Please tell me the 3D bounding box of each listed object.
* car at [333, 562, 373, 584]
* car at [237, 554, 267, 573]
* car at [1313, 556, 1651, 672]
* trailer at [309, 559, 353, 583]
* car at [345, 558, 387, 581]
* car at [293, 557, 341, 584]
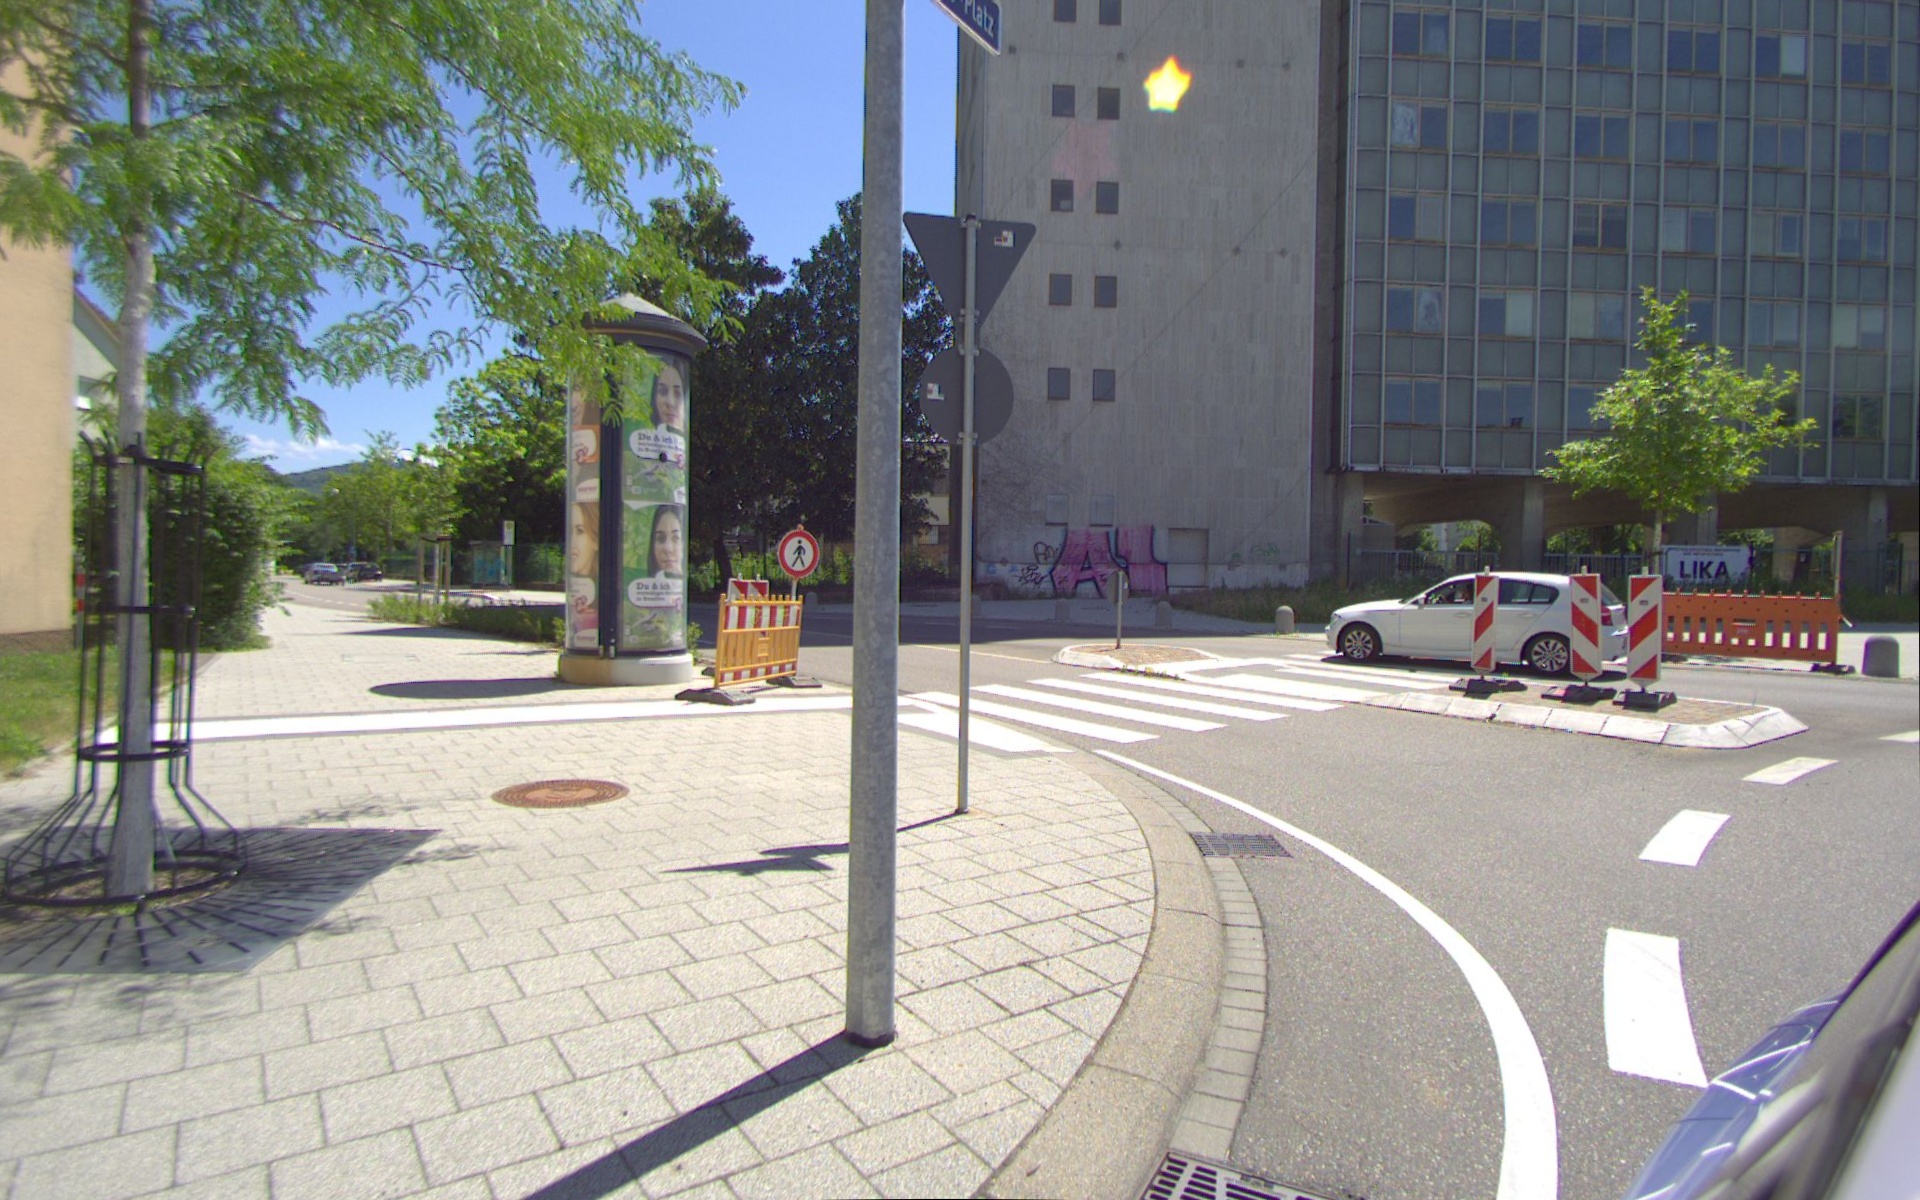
[{"bbox_3d":[-49.961,-2.237,83.286,1.967,1.623,3.990,-2,1,-43],"label":"car"},{"bbox_3d":[-67.013,-3.466,95.719,1.965,1.623,3.994,-2,0,-40],"label":"car"},{"bbox_3d":[7.758,0.109,15.226,4.235,1.476,1.884,2,2,39],"label":"car"},{"bbox_3d":[-39.970,-1.856,64.270,1.736,1.382,3.298,-2,1,-43],"label":"trailer"},{"bbox_3d":[-46.672,-2.368,79.509,1.967,1.623,4.163,-2,1,-43],"label":"car"},{"bbox_3d":[-42.545,-1.940,66.965,1.967,1.623,3.990,-2,1,-43],"label":"car"}]
